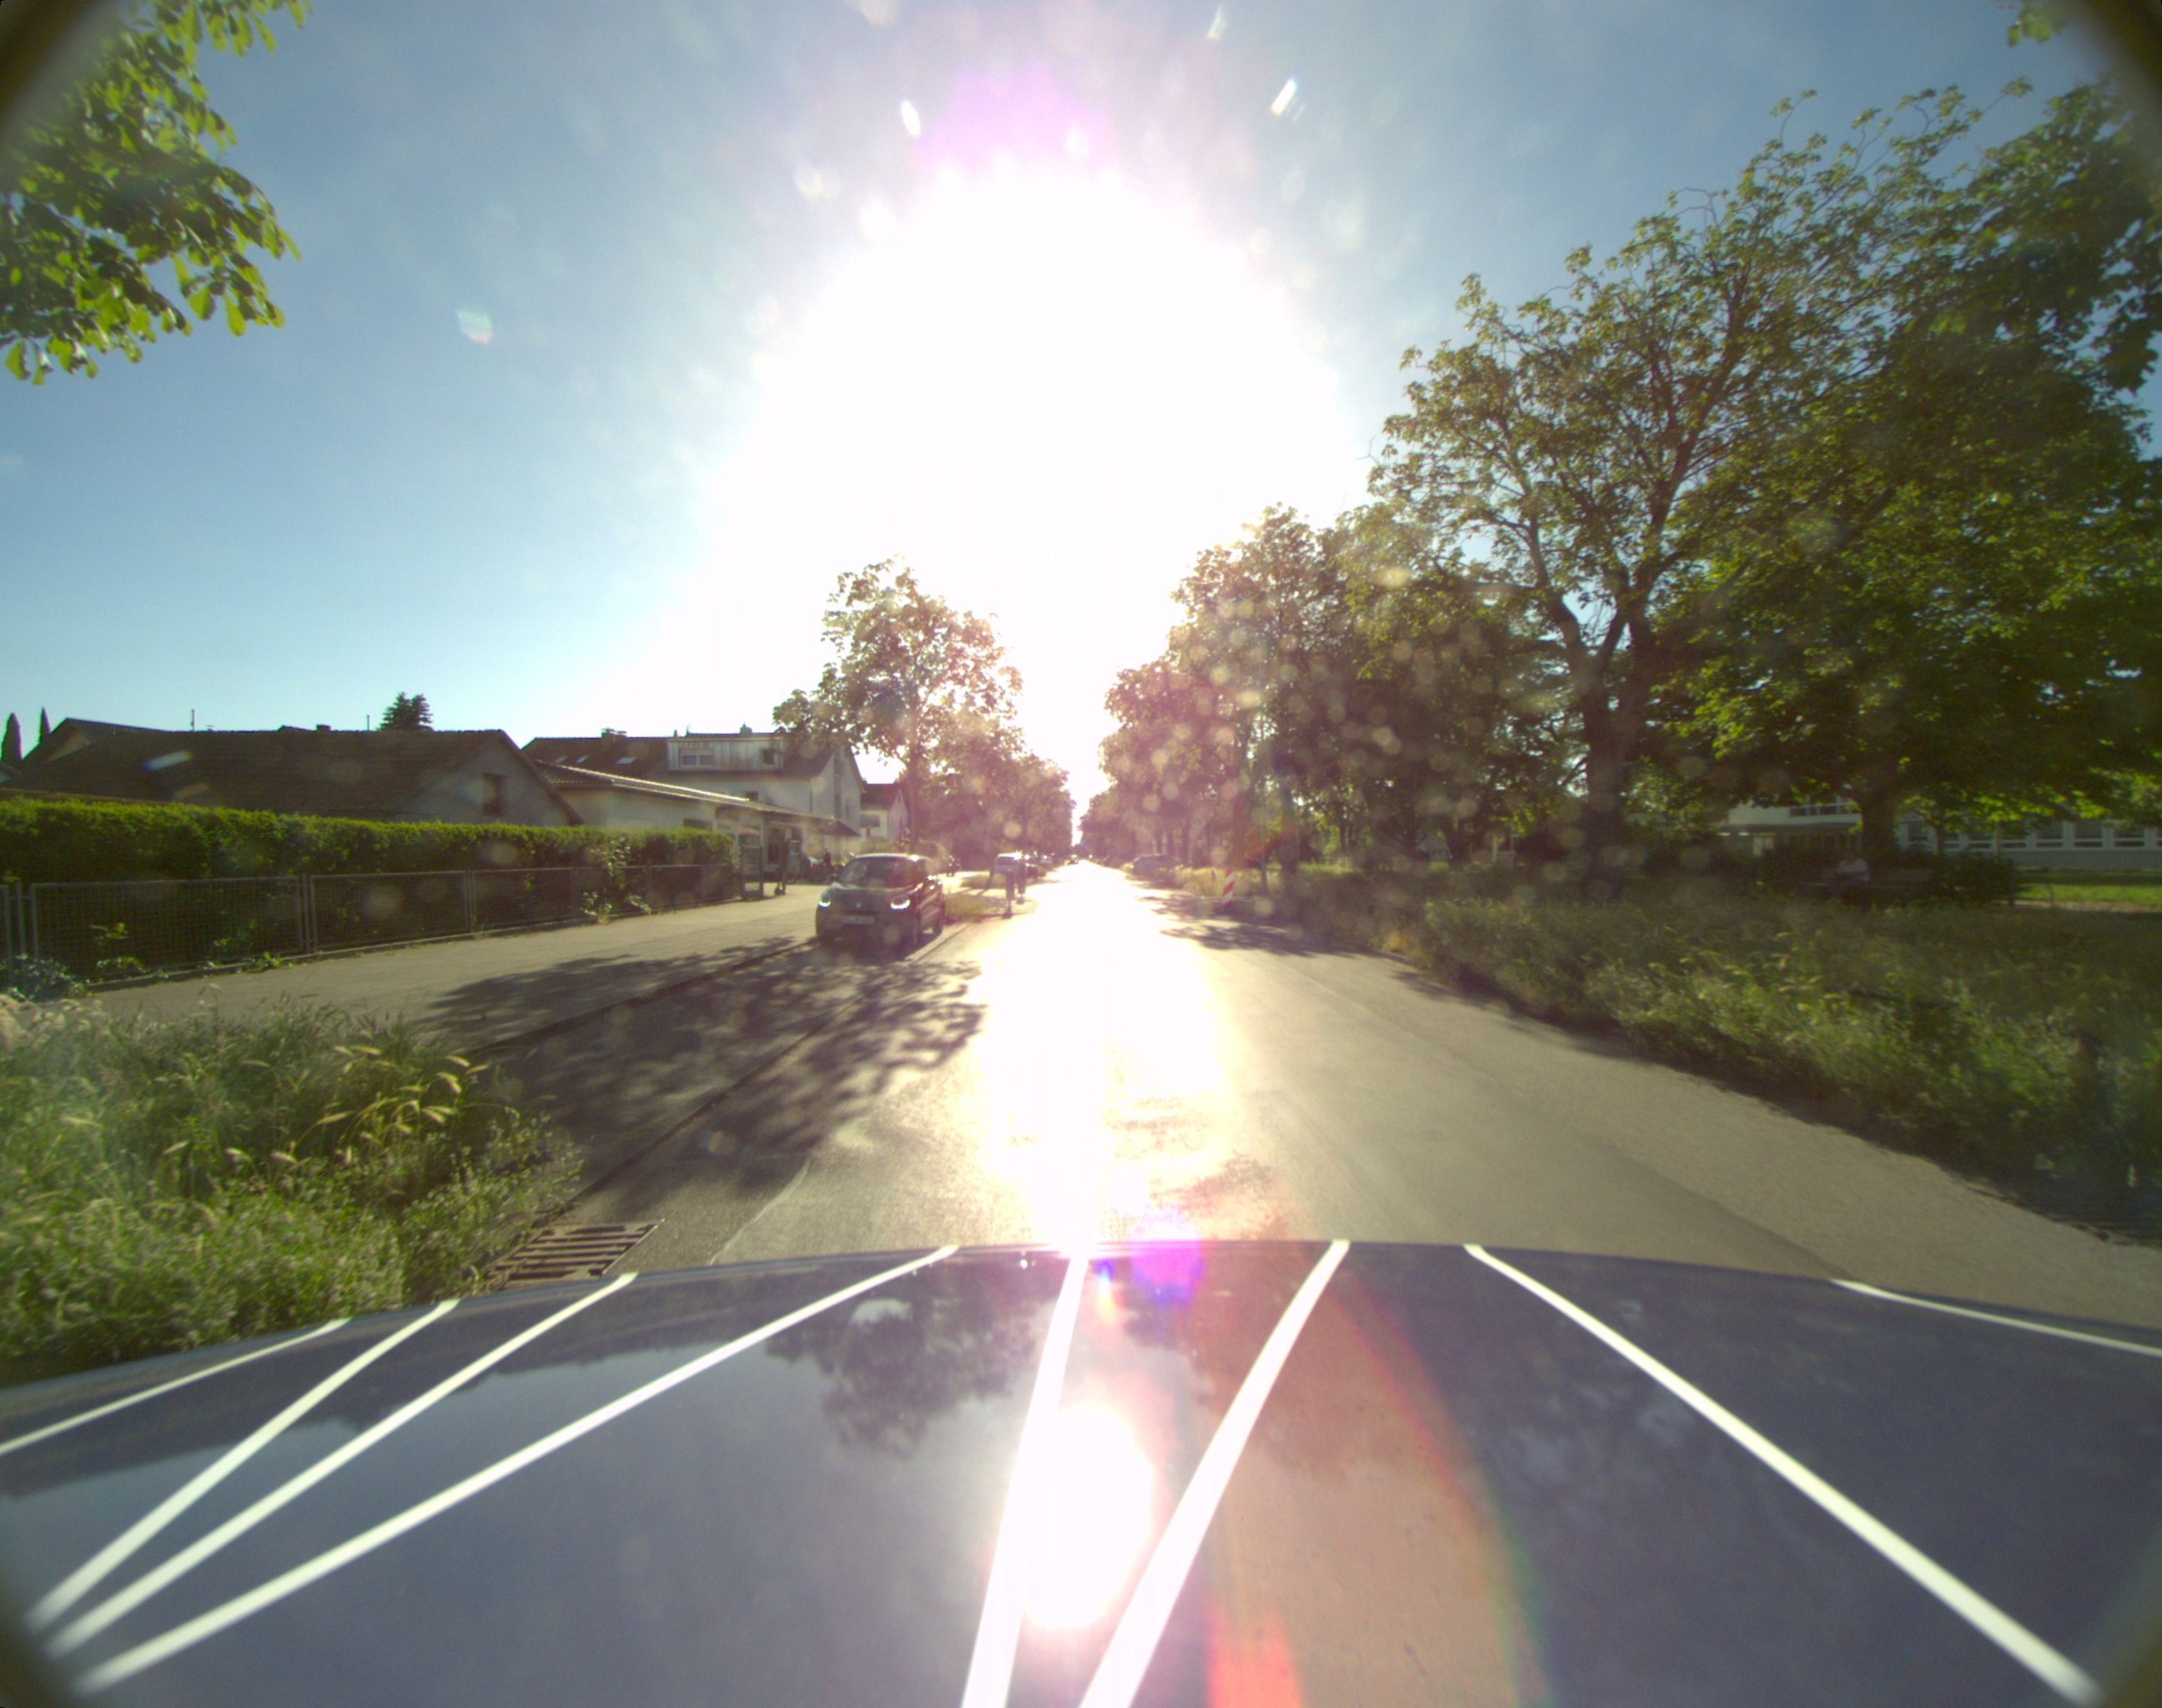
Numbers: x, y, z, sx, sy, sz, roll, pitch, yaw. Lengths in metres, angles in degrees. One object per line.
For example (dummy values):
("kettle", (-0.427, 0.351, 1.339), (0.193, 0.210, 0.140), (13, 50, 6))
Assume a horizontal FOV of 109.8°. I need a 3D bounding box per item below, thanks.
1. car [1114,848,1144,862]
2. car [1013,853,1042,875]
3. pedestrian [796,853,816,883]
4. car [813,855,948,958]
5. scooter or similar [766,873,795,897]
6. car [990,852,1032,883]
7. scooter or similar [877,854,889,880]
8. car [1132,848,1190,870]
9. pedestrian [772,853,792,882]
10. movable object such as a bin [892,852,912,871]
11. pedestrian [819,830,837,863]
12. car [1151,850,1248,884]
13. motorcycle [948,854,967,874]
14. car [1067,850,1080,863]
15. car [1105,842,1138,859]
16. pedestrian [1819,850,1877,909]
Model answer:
("car", (6.655, 0.121, 105.143), (3.997, 1.740, 1.890), (-2, 1, -1))
("car", (-3.566, 0.663, 51.322), (1.733, 1.473, 3.857), (0, 0, -1))
("pedestrian", (-12.660, 0.635, 34.992), (0.641, 1.315, 0.574), (-1, 1, 0))
("car", (-3.475, 0.825, 13.759), (1.497, 1.565, 3.600), (1, 1, -1))
("scooter or similar", (-9.928, 1.010, 25.108), (0.450, 0.712, 1.228), (3, 1, -1))
("car", (-3.752, 0.692, 41.234), (1.732, 1.568, 3.858), (1, 1, 2))
("scooter or similar", (-9.881, 0.627, 37.871), (0.503, 1.288, 0.461), (1, 1, -4))
("car", (6.168, 0.406, 58.895), (4.204, 1.552, 2.000), (-2, 1, 0))
("pedestrian", (-13.721, 0.598, 34.874), (0.641, 1.315, 0.574), (0, 1, 0))
("movable object such as a bin", (-12.001, 0.490, 51.011), (1.172, 1.286, 0.928), (1, 1, -1))
("pedestrian", (-14.139, -0.402, 42.507), (0.672, 1.798, 0.735), (-2, 2, 0))
("car", (5.984, 0.640, 38.823), (4.616, 1.552, 2.000), (-2, 1, 0))
("motorcycle", (-8.107, 0.653, 50.023), (0.838, 1.247, 2.344), (-2, 1, -1))
("car", (-1.185, 0.336, 126.075), (1.998, 2.002, 3.999), (-2, 1, 0))
("car", (6.498, -0.564, 121.693), (5.121, 2.597, 2.125), (-2, 1, 2))
("pedestrian", (15.769, 0.520, 15.631), (0.639, 1.151, 0.521), (-4, 2, -2))
